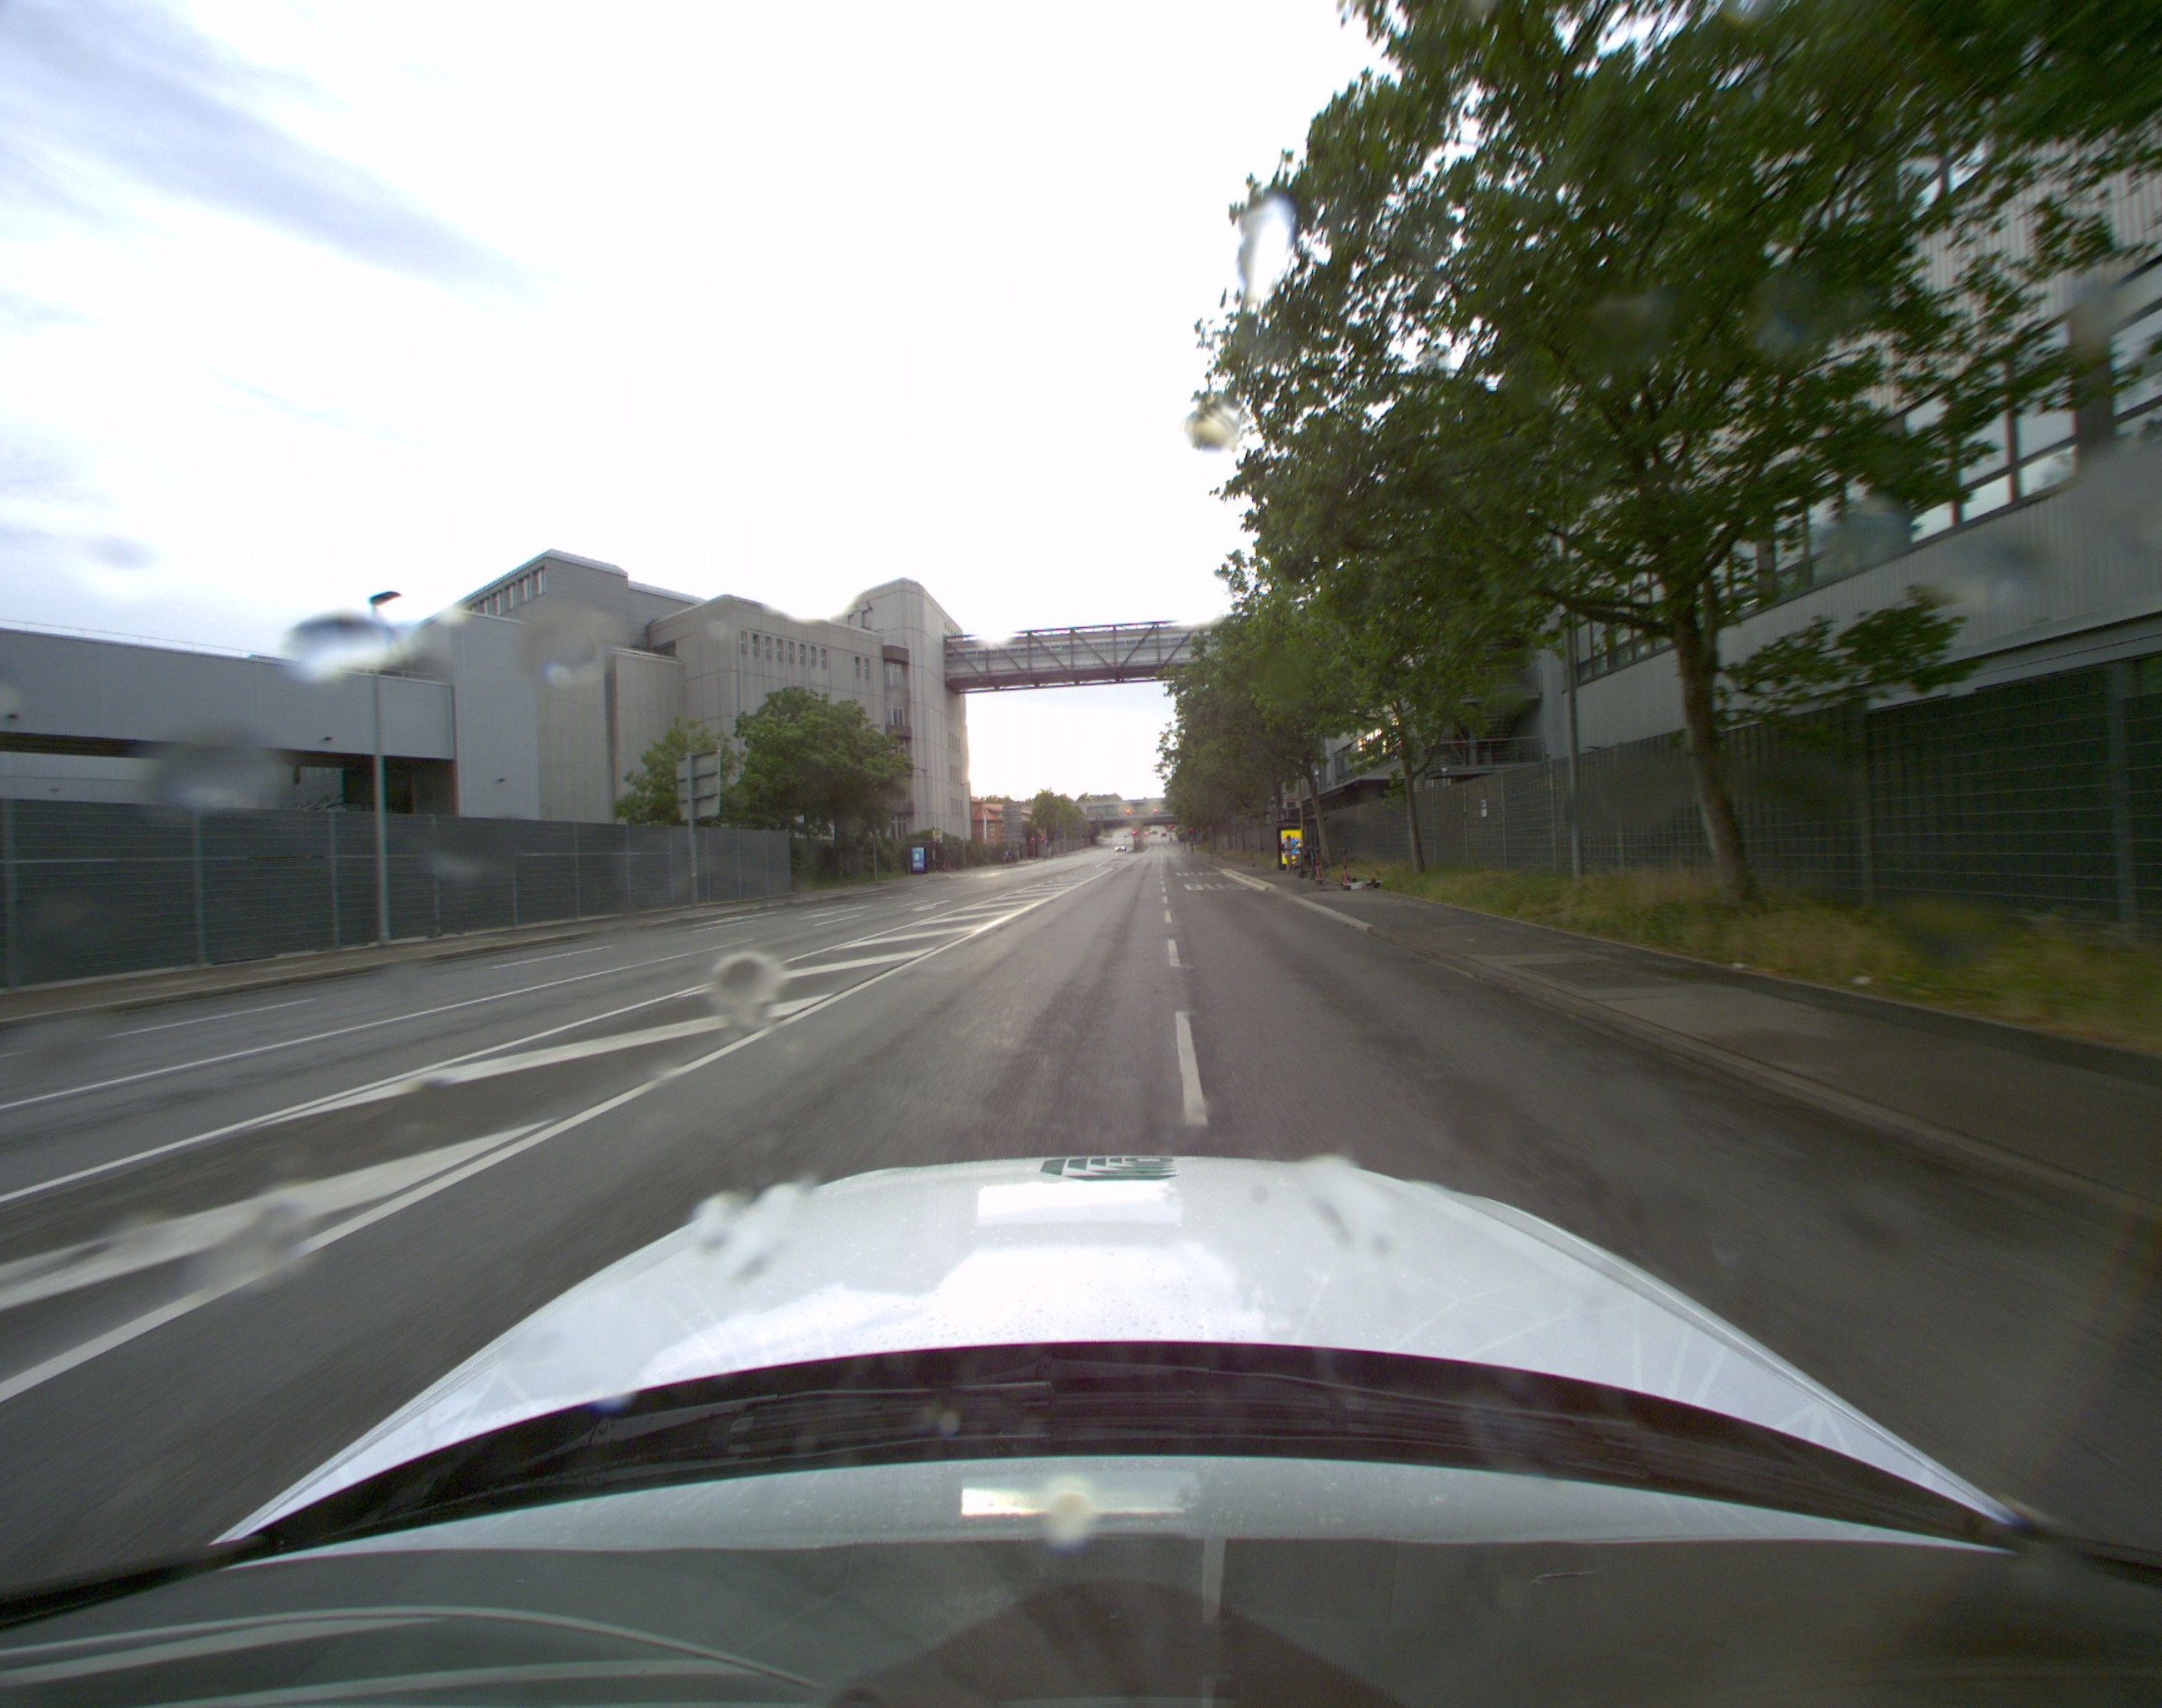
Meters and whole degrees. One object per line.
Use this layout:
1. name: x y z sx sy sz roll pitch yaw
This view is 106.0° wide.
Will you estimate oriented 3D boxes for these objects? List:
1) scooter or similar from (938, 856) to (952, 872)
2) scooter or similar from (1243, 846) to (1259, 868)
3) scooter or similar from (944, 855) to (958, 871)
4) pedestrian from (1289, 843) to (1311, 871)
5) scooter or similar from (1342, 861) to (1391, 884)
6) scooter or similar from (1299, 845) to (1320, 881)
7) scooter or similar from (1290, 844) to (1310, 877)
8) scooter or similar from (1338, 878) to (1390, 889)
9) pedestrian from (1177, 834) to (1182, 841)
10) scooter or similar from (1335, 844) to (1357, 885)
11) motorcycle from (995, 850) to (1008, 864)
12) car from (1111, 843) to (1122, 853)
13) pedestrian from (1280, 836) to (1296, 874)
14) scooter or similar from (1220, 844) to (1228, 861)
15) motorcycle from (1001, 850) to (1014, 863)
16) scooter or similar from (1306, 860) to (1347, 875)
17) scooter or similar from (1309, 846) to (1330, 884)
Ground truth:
1. scooter or similar: -11.286 0.799 67.691 0.521 1.252 1.804 -2 0 10
2. scooter or similar: 10.088 0.149 48.309 0.693 1.244 1.930 -2 0 17
3. scooter or similar: -11.159 0.764 69.832 0.494 1.252 1.927 -2 0 10
4. pedestrian: 10.768 0.131 40.060 0.944 1.316 0.688 -2 0 11
5. scooter or similar: 9.520 0.597 27.219 0.656 0.713 1.512 -3 0 -26
6. scooter or similar: 8.534 0.306 30.468 0.473 1.293 1.436 -3 0 6
7. scooter or similar: 8.748 0.243 32.585 0.500 1.293 1.436 -3 0 6
8. scooter or similar: 8.127 0.848 23.454 0.654 0.246 1.516 -3 0 -16
9. pedestrian: 28.011 -4.683 231.471 1.049 2.013 1.156 -2 0 16
10. scooter or similar: 8.117 0.307 24.963 0.386 1.226 1.075 -3 0 6
11. motorcycle: -9.096 0.334 93.782 0.909 1.532 3.303 -3 0 3
12. car: 6.417 -1.088 147.989 1.986 1.772 4.002 -2 0 2
13. pedestrian: 9.155 0.041 36.033 0.479 1.667 0.662 -3 0 3
14. scooter or similar: 12.366 -0.136 70.469 0.605 1.366 1.927 -2 0 10
15. motorcycle: -8.777 0.275 97.456 0.955 1.556 3.303 -3 0 3
16. scooter or similar: 10.139 0.562 33.647 1.547 0.519 0.647 -3 0 21
17. scooter or similar: 8.238 0.352 28.158 0.431 1.270 1.196 -3 0 6
